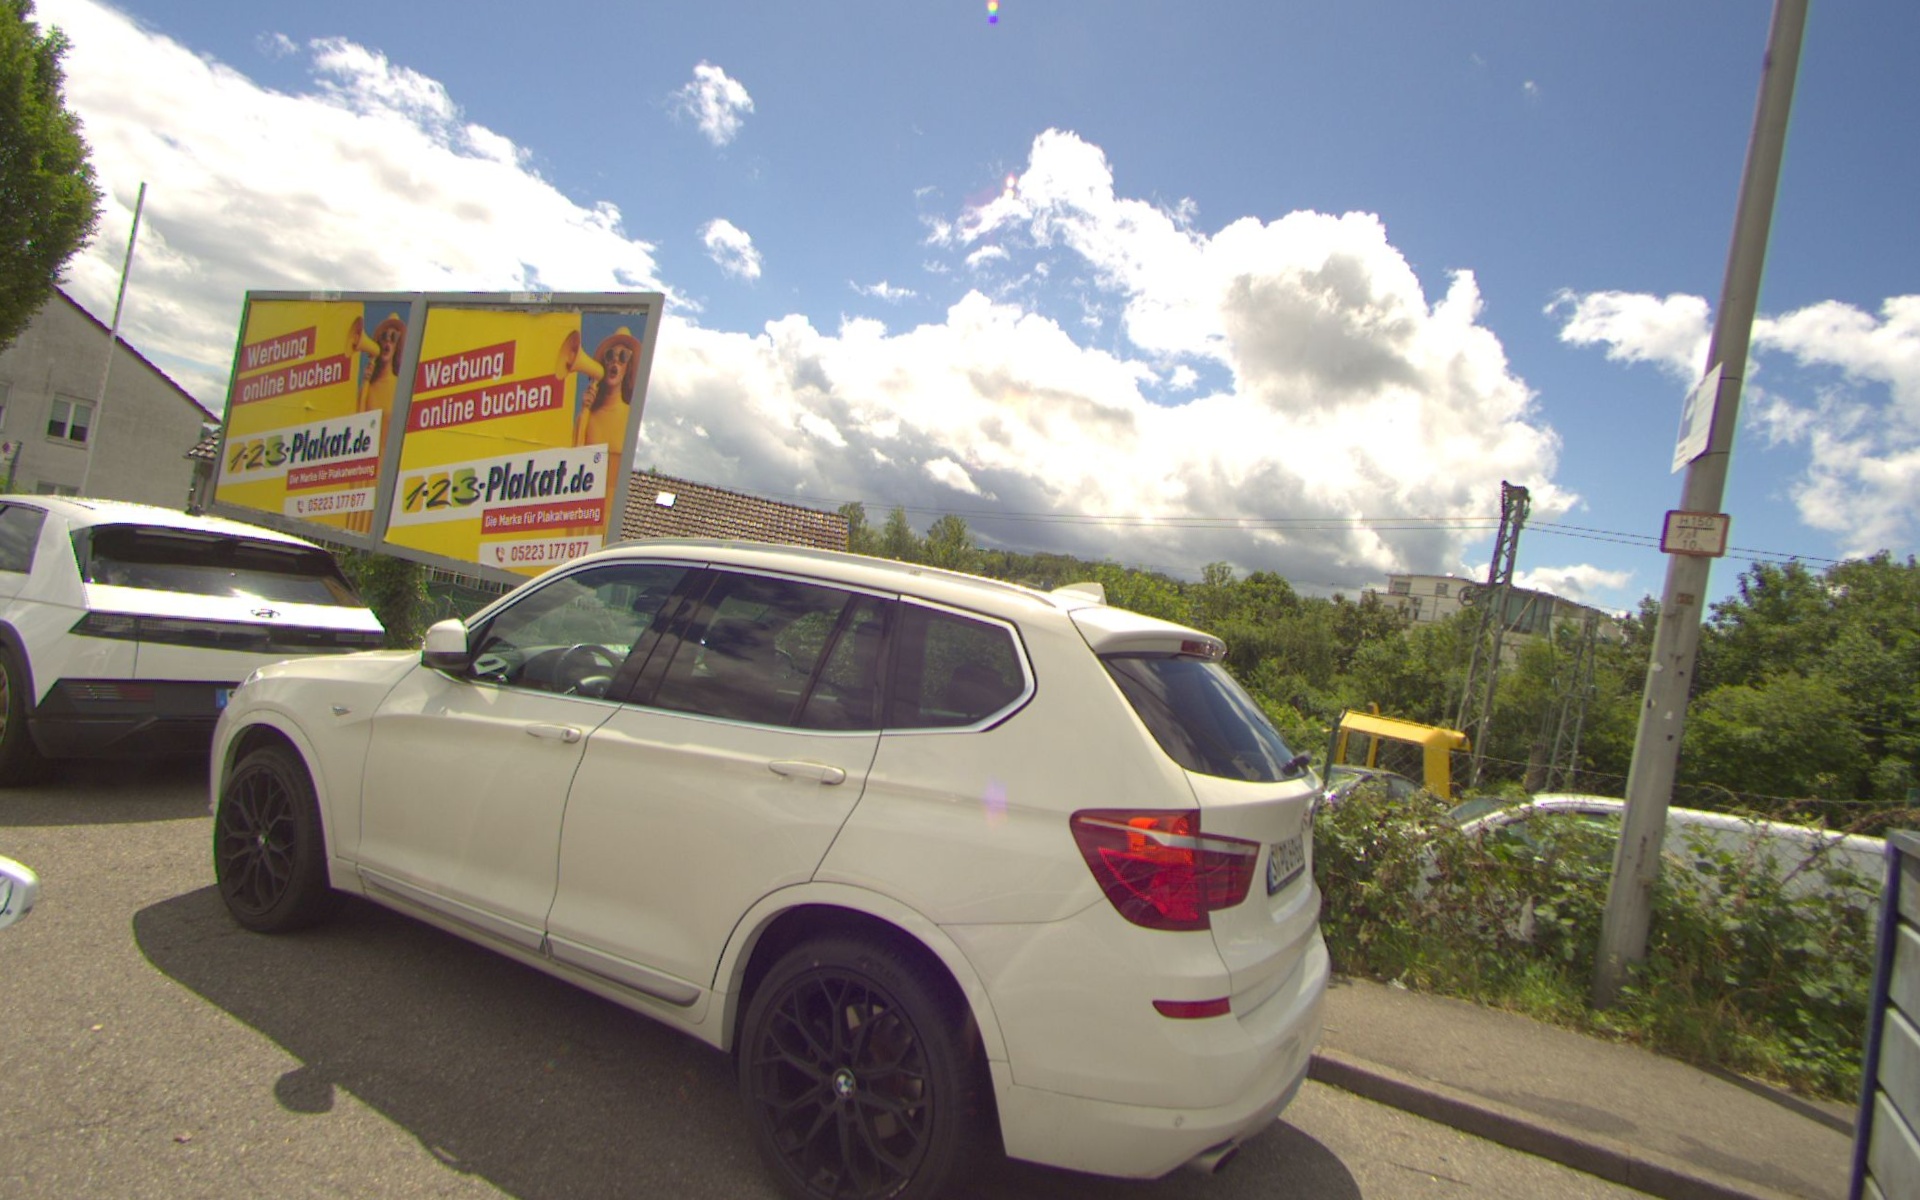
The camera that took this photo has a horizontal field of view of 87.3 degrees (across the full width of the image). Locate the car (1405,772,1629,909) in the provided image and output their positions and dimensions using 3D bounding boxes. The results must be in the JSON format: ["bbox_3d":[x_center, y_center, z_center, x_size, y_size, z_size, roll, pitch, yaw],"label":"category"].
[{"bbox_3d":[9.122,3.822,16.348,3.974,1.630,1.776,10,-3,-40],"label":"car"}]

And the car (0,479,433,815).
[{"bbox_3d":[-5.776,0.108,6.730,4.391,1.584,1.845,6,-1,31],"label":"car"}]

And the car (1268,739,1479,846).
[{"bbox_3d":[7.432,3.369,17.909,4.014,1.406,1.725,8,-1,-40],"label":"car"}]

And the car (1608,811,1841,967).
[{"bbox_3d":[11.238,4.071,14.699,3.974,1.576,1.802,10,-3,-40],"label":"car"}]

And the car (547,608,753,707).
[{"bbox_3d":[-6.679,1.237,22.093,3.981,1.405,1.741,11,-2,-12],"label":"car"}]

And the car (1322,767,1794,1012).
[{"bbox_3d":[6.996,3.222,12.127,4.521,1.535,1.748,6,-1,43],"label":"car"}]

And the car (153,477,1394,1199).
[{"bbox_3d":[-0.909,0.628,3.806,4.403,1.678,1.690,7,-2,29],"label":"car"}]
